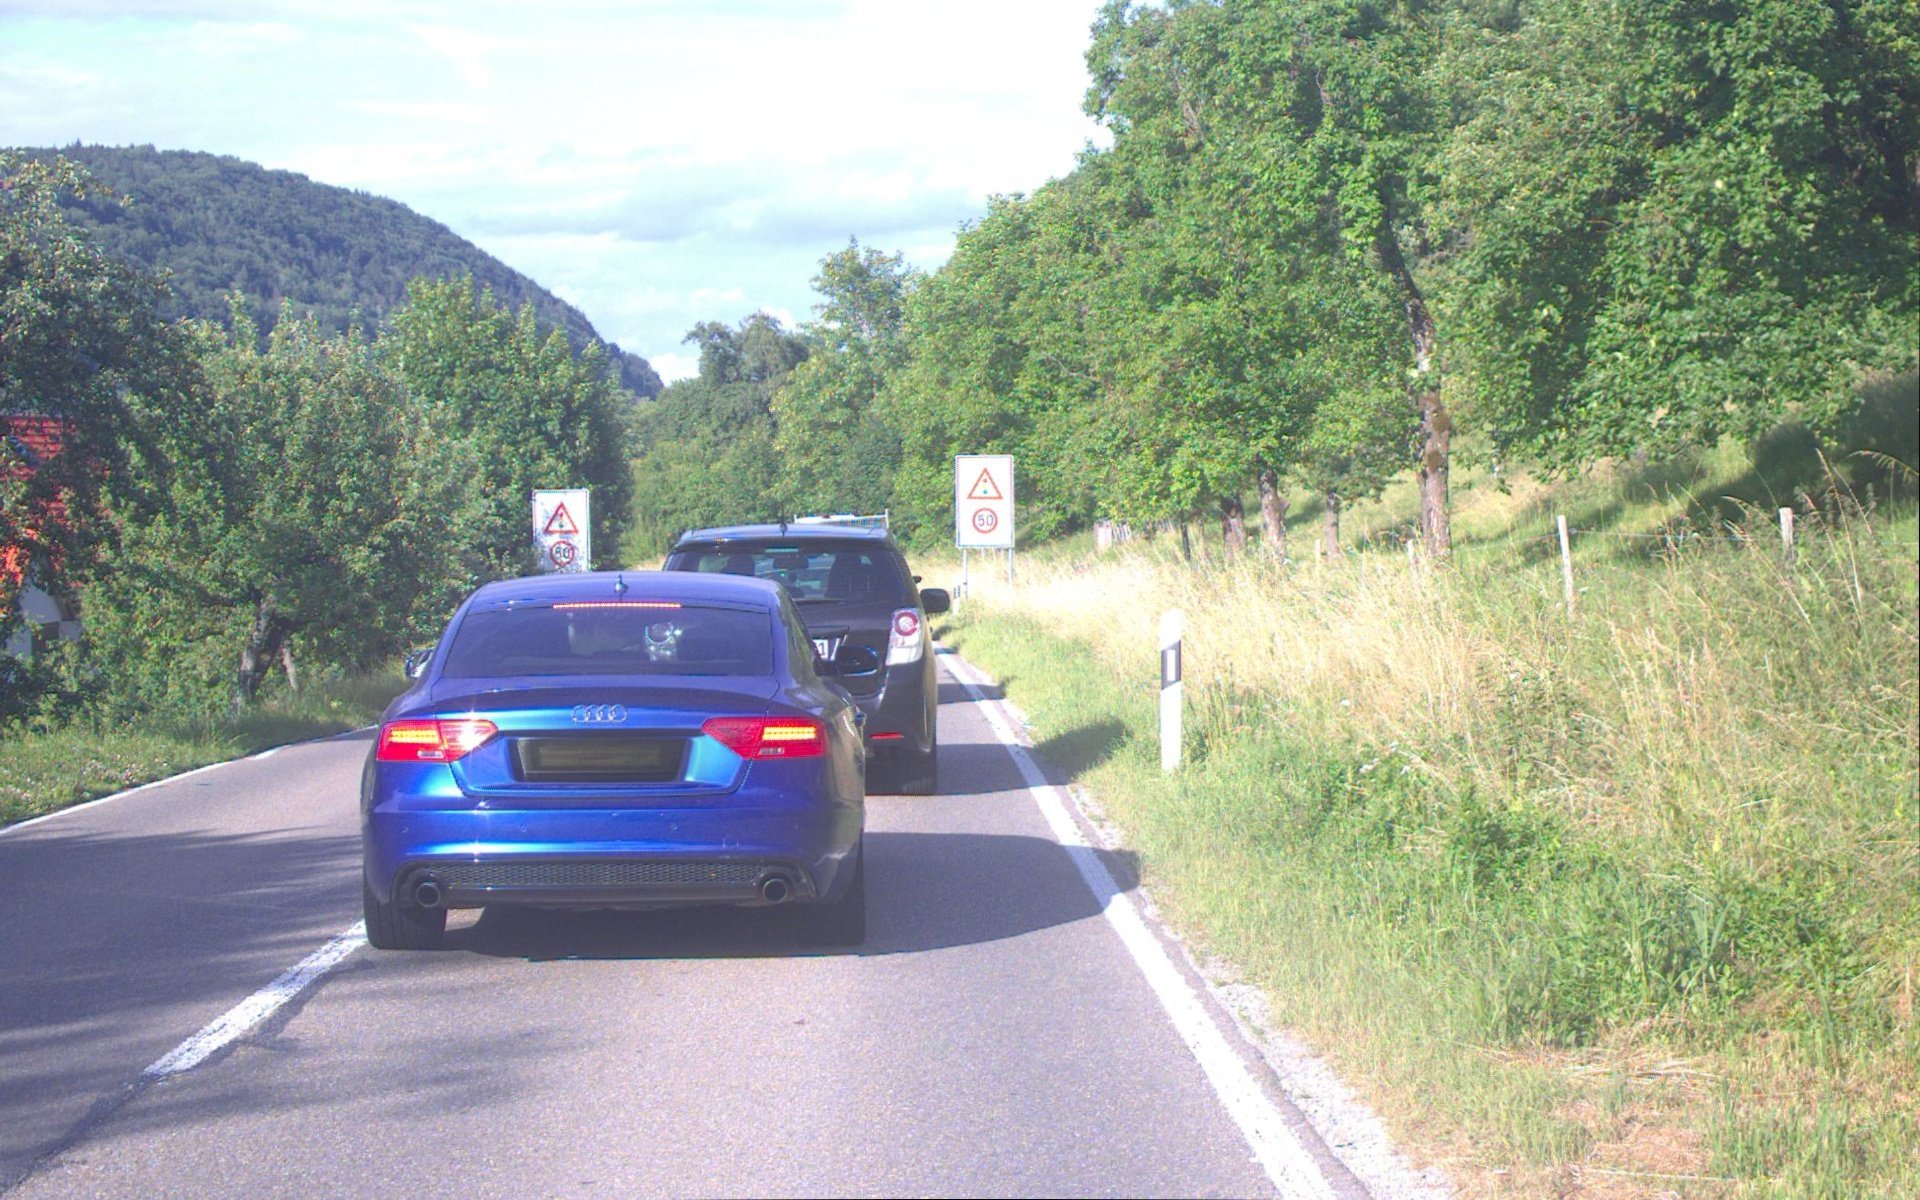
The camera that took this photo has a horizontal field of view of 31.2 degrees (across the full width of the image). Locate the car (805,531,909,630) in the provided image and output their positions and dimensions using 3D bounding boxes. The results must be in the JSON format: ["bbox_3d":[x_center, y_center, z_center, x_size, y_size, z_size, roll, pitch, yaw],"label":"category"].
[{"bbox_3d":[-1.754,-0.361,58.456,1.692,1.618,3.789,0,1,-2],"label":"car"}]

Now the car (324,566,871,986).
[{"bbox_3d":[-1.274,0.572,13.683,1.805,1.377,4.215,-1,1,-1],"label":"car"}]

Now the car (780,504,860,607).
[{"bbox_3d":[-3.469,-1.096,84.861,1.792,2.445,3.920,1,1,-4],"label":"car"}]

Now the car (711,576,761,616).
[{"bbox_3d":[-8.901,-0.171,136.516,1.558,1.490,3.779,1,1,-10],"label":"car"}]

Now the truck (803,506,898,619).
[{"bbox_3d":[-2.393,-0.824,74.659,1.950,2.337,5.094,1,1,-2],"label":"truck"}]

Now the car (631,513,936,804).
[{"bbox_3d":[-1.044,0.294,21.155,1.692,1.618,3.789,0,1,-2],"label":"car"}]

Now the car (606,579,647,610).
[{"bbox_3d":[-16.857,-0.279,173.693,1.558,1.490,3.779,1,1,-14],"label":"car"}]
